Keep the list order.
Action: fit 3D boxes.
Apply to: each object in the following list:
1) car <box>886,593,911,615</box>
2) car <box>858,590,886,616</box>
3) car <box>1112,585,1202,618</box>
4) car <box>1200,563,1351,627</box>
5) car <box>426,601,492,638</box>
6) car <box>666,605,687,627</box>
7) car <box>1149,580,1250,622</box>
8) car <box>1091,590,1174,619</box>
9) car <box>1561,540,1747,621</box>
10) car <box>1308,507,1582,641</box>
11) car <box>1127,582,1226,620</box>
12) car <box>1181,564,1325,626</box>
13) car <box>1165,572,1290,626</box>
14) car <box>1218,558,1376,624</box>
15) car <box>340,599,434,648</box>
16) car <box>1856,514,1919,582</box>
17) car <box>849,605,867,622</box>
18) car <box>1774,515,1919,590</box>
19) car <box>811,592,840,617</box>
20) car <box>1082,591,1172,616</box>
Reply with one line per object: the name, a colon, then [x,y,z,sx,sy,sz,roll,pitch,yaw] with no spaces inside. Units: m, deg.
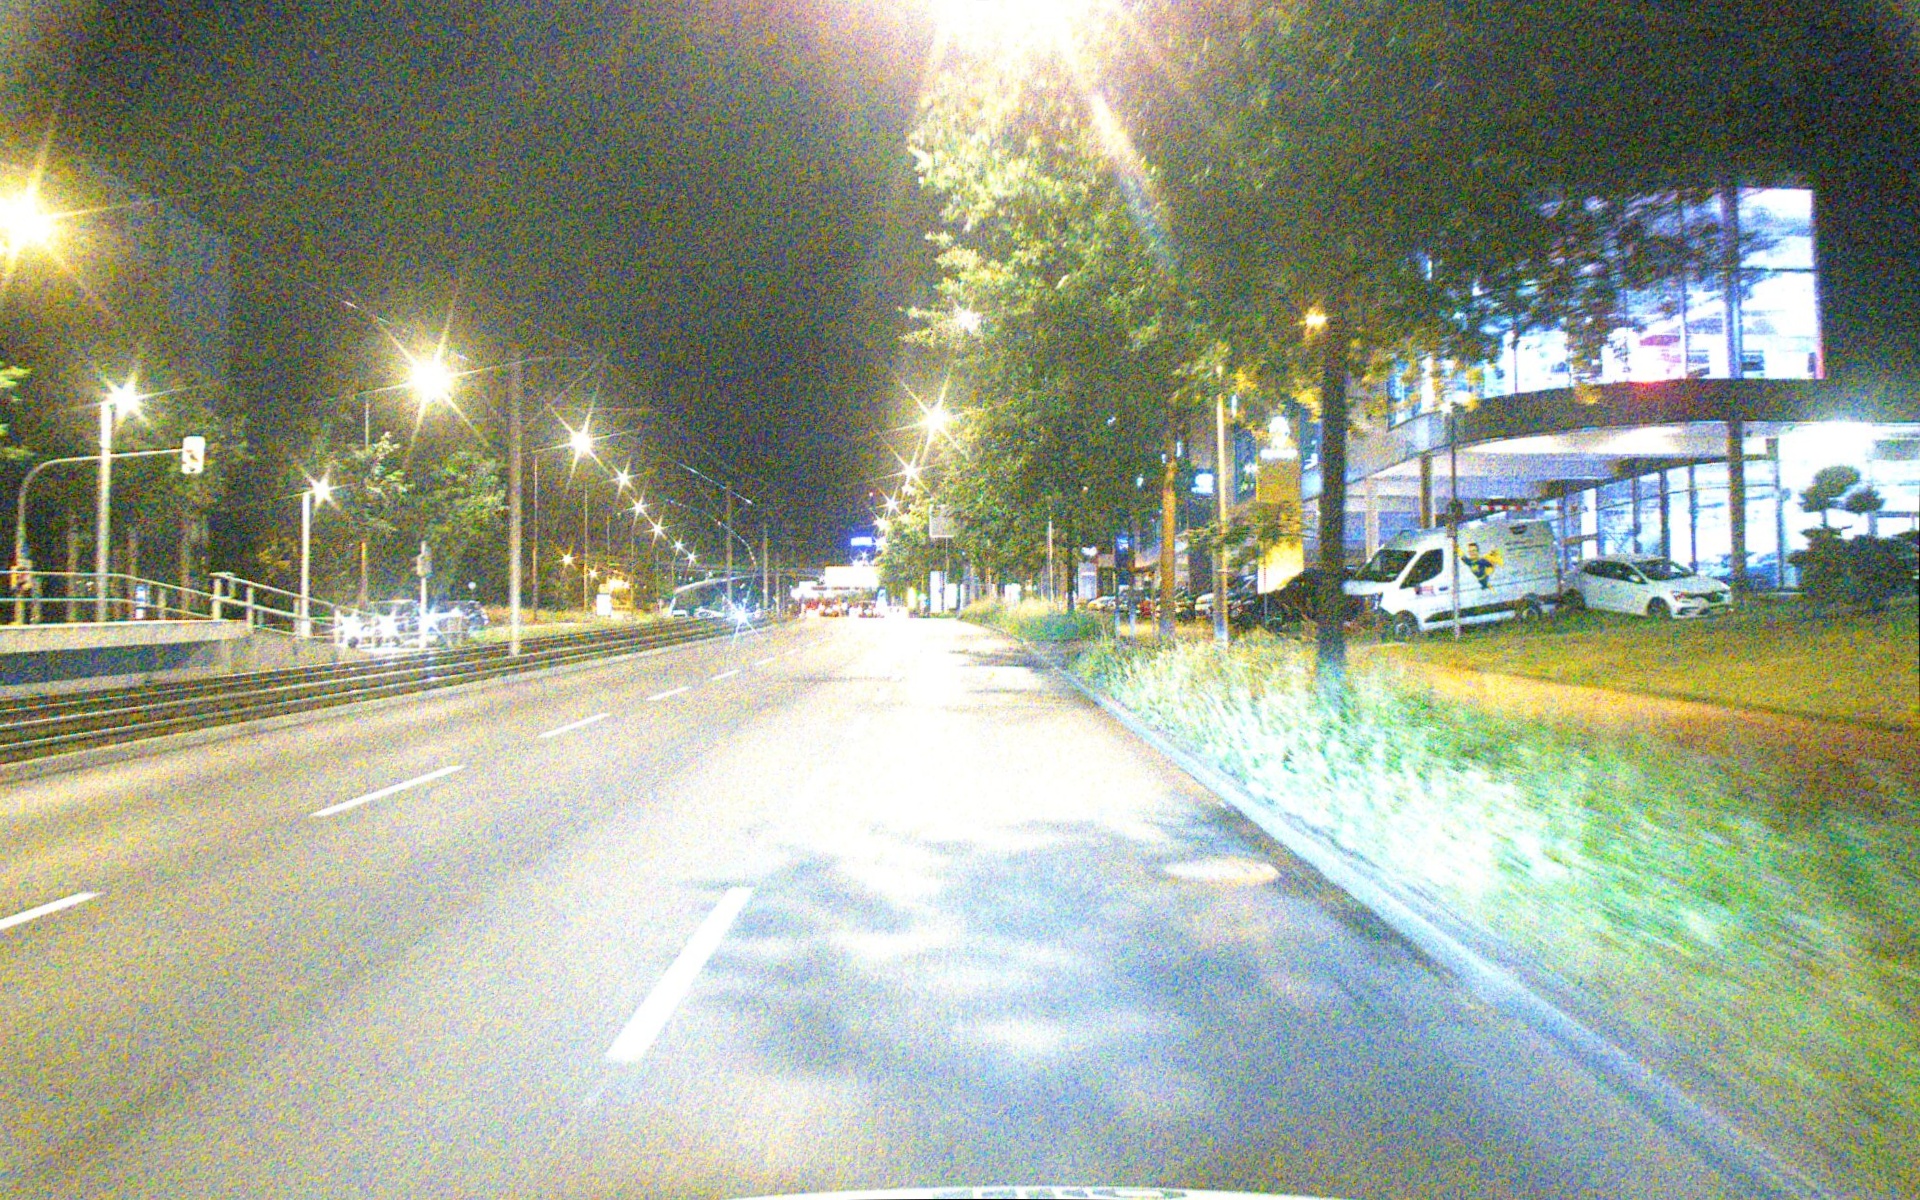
car: [-5.957,0.398,159.390,2.378,2.150,4.824,0,-1,-2]
car: [-7.553,0.250,141.919,2.308,2.166,4.824,0,-1,-2]
car: [9.428,0.041,79.244,3.935,1.416,1.813,-3,1,-24]
car: [10.350,-0.160,54.394,4.383,1.841,1.994,-3,1,-13]
car: [-21.590,0.827,71.434,1.626,1.543,3.910,0,-1,0]
car: [-38.552,2.226,224.813,2.109,2.717,6.936,-3,-1,-14]
car: [9.918,0.046,68.641,3.740,1.478,1.710,-3,1,-16]
car: [9.101,0.209,87.376,3.927,1.448,1.899,-1,1,-20]
car: [16.561,-0.425,39.654,1.782,1.742,3.938,-3,0,-24]
car: [11.564,-0.631,39.462,5.927,2.572,2.272,-6,1,-19]
car: [9.649,0.048,73.806,3.961,1.397,1.816,-4,1,-18]
car: [10.095,-0.168,57.055,4.384,1.716,1.994,-5,1,-13]
car: [9.681,-0.054,59.926,4.010,1.595,1.849,-5,1,-13]
car: [10.013,-0.274,49.218,4.129,1.692,1.955,-3,0,-13]
car: [-18.758,0.796,54.332,1.749,1.523,4.172,0,-1,-2]
car: [25.088,-1.400,41.835,1.754,1.628,3.938,-6,1,-24]
car: [-11.438,1.541,185.256,1.849,1.892,3.998,0,-1,-2]
car: [22.411,-1.182,40.780,1.771,1.604,3.938,-6,1,-24]
car: [-11.426,0.397,141.037,2.217,2.049,4.824,0,-1,-2]
car: [9.103,0.180,90.100,4.573,1.286,1.931,-1,1,-27]
